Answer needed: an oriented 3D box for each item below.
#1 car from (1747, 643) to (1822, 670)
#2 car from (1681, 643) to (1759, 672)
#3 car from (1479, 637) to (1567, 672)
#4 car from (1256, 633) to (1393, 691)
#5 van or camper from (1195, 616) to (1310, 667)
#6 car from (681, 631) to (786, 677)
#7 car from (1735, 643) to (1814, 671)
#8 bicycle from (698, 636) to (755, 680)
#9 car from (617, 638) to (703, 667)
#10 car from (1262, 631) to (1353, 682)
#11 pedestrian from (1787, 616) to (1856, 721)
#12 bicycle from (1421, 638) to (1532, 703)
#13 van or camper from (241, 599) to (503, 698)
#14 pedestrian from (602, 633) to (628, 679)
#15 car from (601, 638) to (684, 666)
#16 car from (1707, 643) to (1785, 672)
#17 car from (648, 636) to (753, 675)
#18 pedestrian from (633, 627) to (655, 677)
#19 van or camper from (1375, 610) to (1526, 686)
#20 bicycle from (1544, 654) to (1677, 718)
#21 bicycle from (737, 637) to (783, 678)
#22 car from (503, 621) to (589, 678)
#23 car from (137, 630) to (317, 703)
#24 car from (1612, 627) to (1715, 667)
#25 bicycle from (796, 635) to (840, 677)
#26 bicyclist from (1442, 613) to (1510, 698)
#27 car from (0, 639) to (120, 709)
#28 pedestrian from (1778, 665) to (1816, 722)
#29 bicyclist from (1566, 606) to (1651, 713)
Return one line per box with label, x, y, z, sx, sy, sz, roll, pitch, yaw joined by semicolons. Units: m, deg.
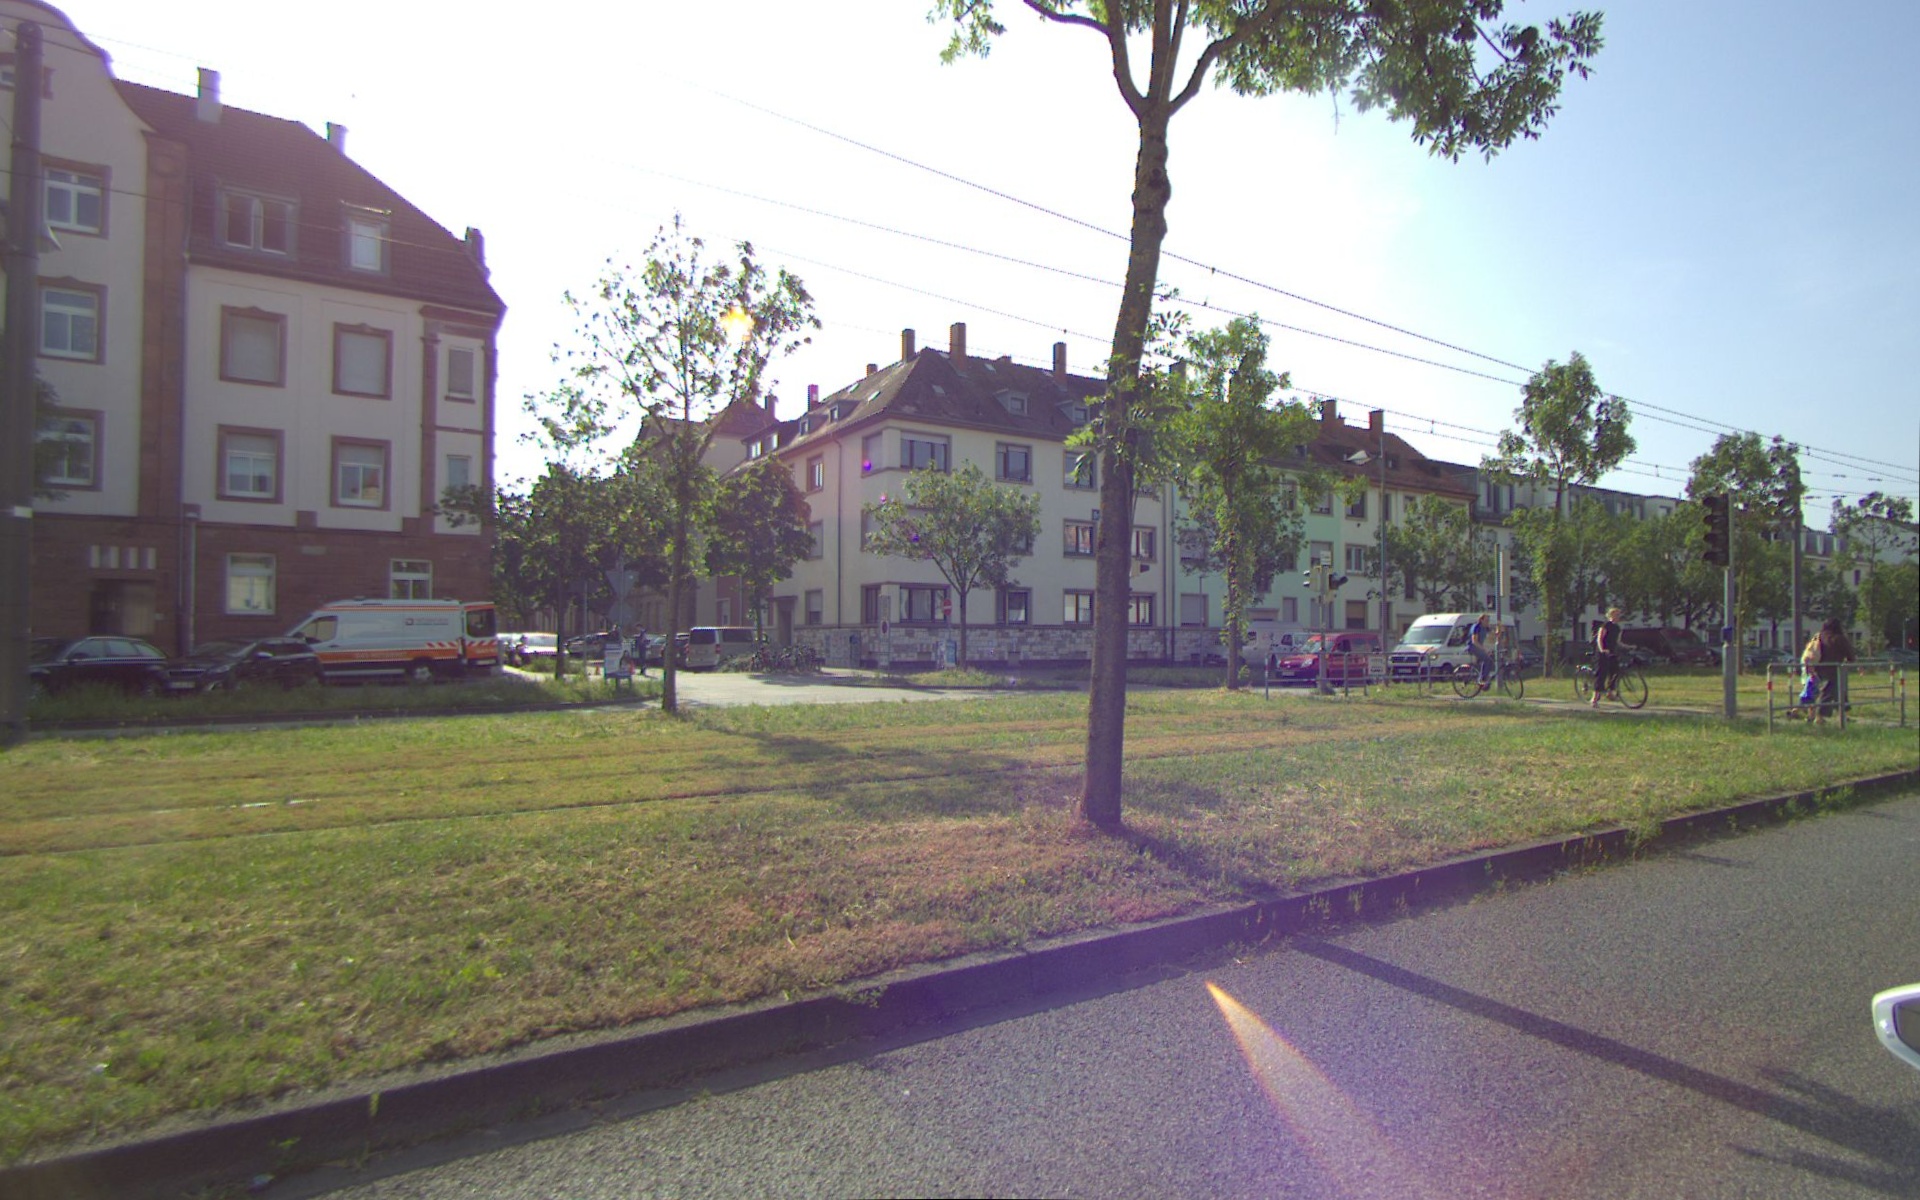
car;54.718;3.745;66.775;1.436;1.550;3.996;2;0;-6
car;45.772;3.443;60.605;1.436;1.550;3.996;2;0;-6
car;26.888;2.582;48.139;1.687;1.431;3.996;2;0;-6
car;12.071;2.018;33.195;4.245;1.716;1.956;2;0;-29
van or camper;14.440;2.032;49.415;5.759;2.359;1.984;2;0;-30
car;-9.634;2.260;43.055;1.981;1.790;4.323;1;-1;30
car;51.066;3.555;63.074;1.436;1.550;3.996;2;0;-6
bicycle;-8.826;2.165;38.170;0.912;1.481;3.222;1;0;10
car;-15.708;2.720;52.659;3.990;1.389;1.694;2;-1;-39
car;13.962;2.224;40.706;1.960;1.761;5.329;2;0;2
pedestrian;13.607;1.067;15.869;0.703;1.592;0.621;2;0;-31
bicycle;11.342;1.518;22.100;0.778;1.341;2.047;2;-2;-43
van or camper;-16.780;1.367;29.004;6.288;2.601;2.027;2;0;-33
pedestrian;-11.970;1.947;34.839;0.717;1.543;0.634;2;0;-28
car;-17.400;2.833;55.043;3.990;1.389;1.694;2;-1;-39
car;48.362;3.526;61.897;1.436;1.550;3.996;2;0;-6
car;-12.286;2.593;47.677;4.353;1.704;1.978;2;-1;-39
pedestrian;-11.100;1.819;35.256;0.611;1.688;0.579;2;0;-28
van or camper;17.983;1.720;36.703;5.965;2.565;2.190;2;0;-33
bicycle;12.340;1.608;19.135;0.659;1.056;2.059;2;-1;-27
bicycle;-7.542;2.146;38.015;0.961;1.378;3.059;1;0;2
car;-16.021;1.862;38.781;1.997;1.964;4.624;2;0;-36
car;-15.655;1.374;21.646;1.467;1.344;3.165;2;0;2
car;40.159;2.653;57.486;1.841;2.040;5.230;2;0;-6
bicycle;-5.475;2.119;38.545;1.087;1.481;2.669;2;0;-20
bicyclist;11.350;1.205;22.090;0.681;1.785;1.136;2;0;-42
car;-18.197;1.396;19.256;1.467;1.176;3.165;2;0;1
pedestrian;13.616;1.520;16.337;0.456;0.887;0.339;2;0;-31
bicyclist;12.364;1.102;19.175;0.677;1.960;1.143;2;0;-27
